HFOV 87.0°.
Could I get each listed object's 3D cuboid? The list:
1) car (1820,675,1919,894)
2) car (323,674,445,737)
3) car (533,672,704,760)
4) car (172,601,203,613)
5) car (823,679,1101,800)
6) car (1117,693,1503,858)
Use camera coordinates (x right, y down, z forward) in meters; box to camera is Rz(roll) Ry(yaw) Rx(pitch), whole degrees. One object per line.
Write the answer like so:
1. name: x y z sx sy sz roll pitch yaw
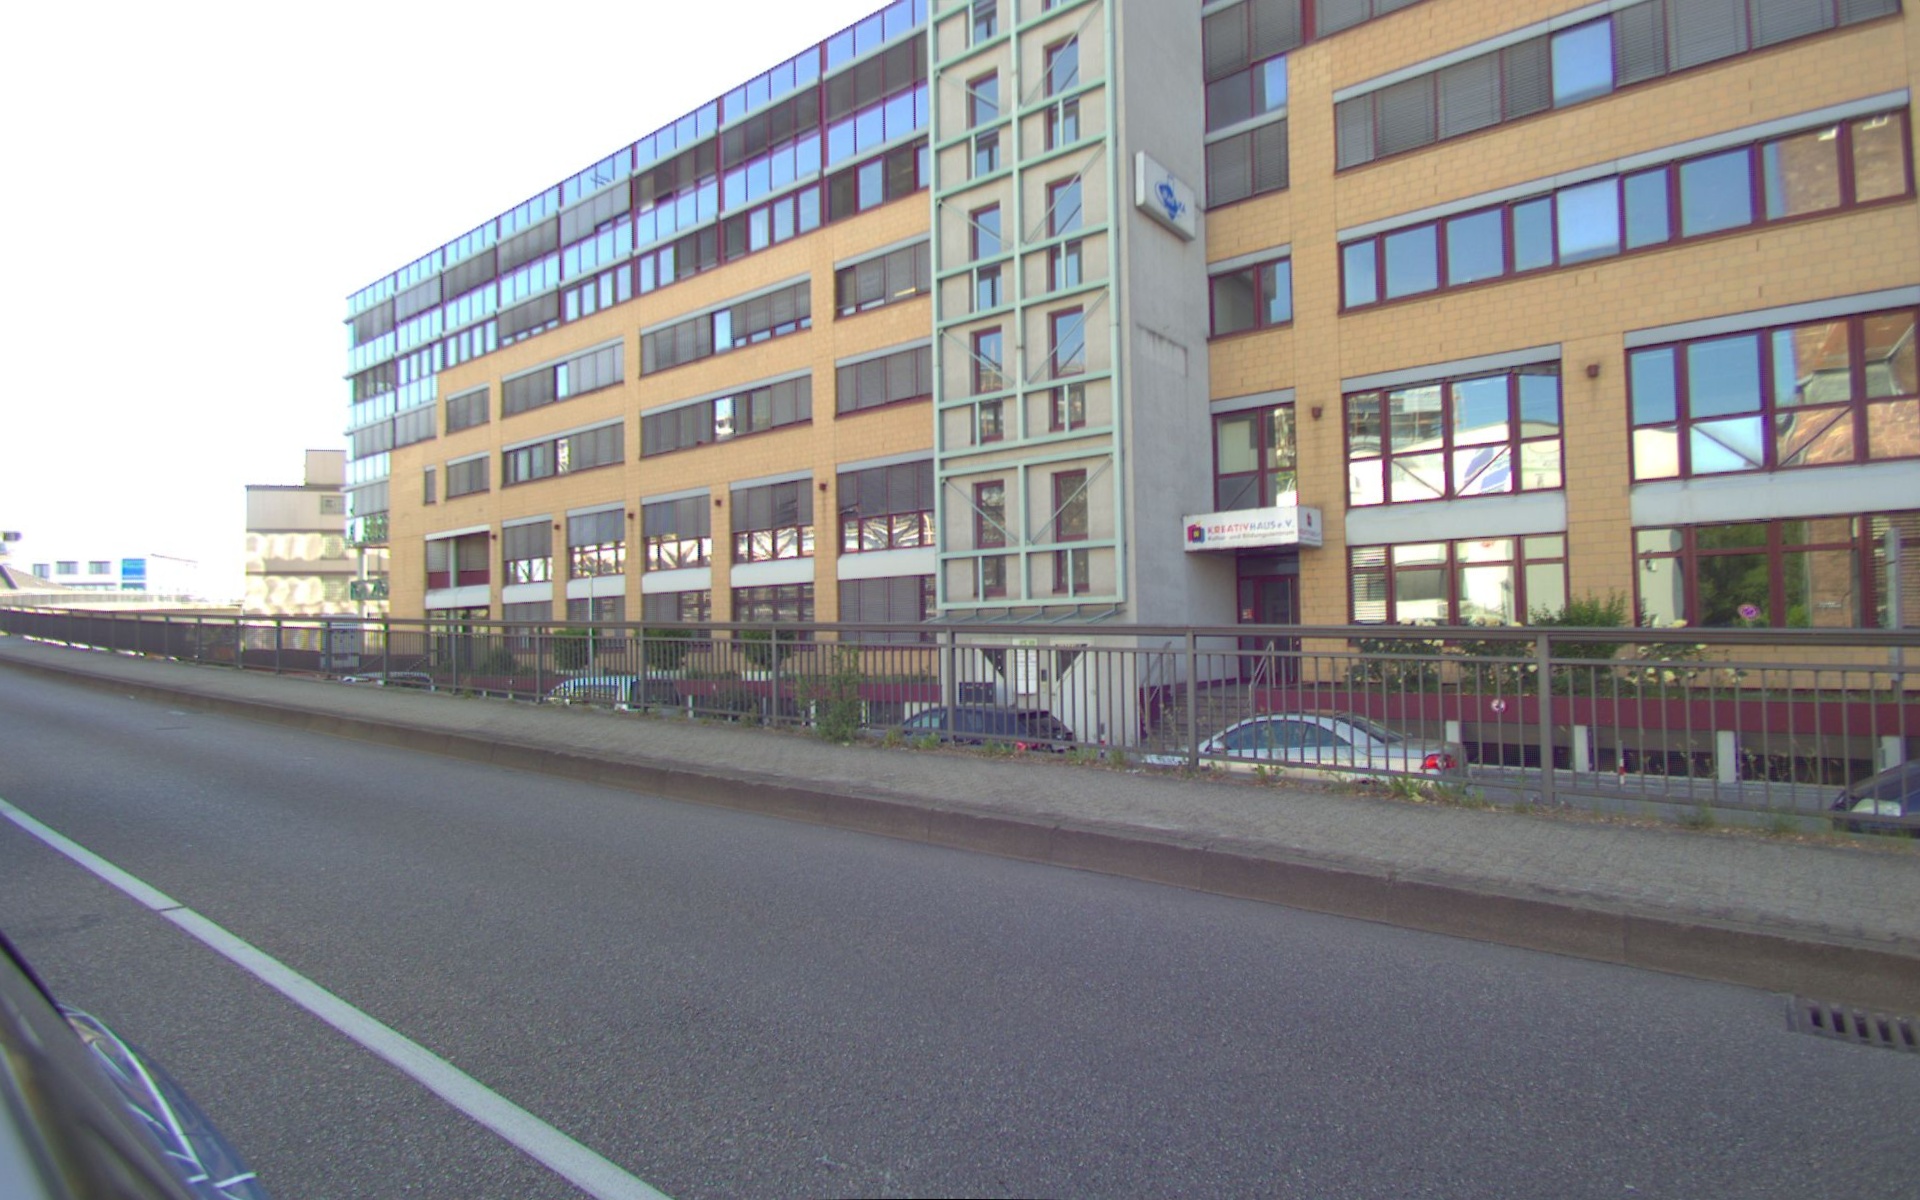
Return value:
1. car: 10.325 1.571 8.378 4.679 1.771 1.933 -3 -2 37
2. car: -17.299 3.101 30.356 3.998 1.675 1.973 -3 -3 41
3. car: -7.822 2.556 23.051 3.998 1.737 1.973 -3 -3 41
4. car: -87.743 0.818 114.942 1.672 1.344 4.013 0 -1 -20
5. car: -0.054 2.148 16.508 4.350 1.616 1.803 -3 -3 38
6. car: 4.399 2.096 13.074 4.350 1.616 1.803 -3 -3 38
